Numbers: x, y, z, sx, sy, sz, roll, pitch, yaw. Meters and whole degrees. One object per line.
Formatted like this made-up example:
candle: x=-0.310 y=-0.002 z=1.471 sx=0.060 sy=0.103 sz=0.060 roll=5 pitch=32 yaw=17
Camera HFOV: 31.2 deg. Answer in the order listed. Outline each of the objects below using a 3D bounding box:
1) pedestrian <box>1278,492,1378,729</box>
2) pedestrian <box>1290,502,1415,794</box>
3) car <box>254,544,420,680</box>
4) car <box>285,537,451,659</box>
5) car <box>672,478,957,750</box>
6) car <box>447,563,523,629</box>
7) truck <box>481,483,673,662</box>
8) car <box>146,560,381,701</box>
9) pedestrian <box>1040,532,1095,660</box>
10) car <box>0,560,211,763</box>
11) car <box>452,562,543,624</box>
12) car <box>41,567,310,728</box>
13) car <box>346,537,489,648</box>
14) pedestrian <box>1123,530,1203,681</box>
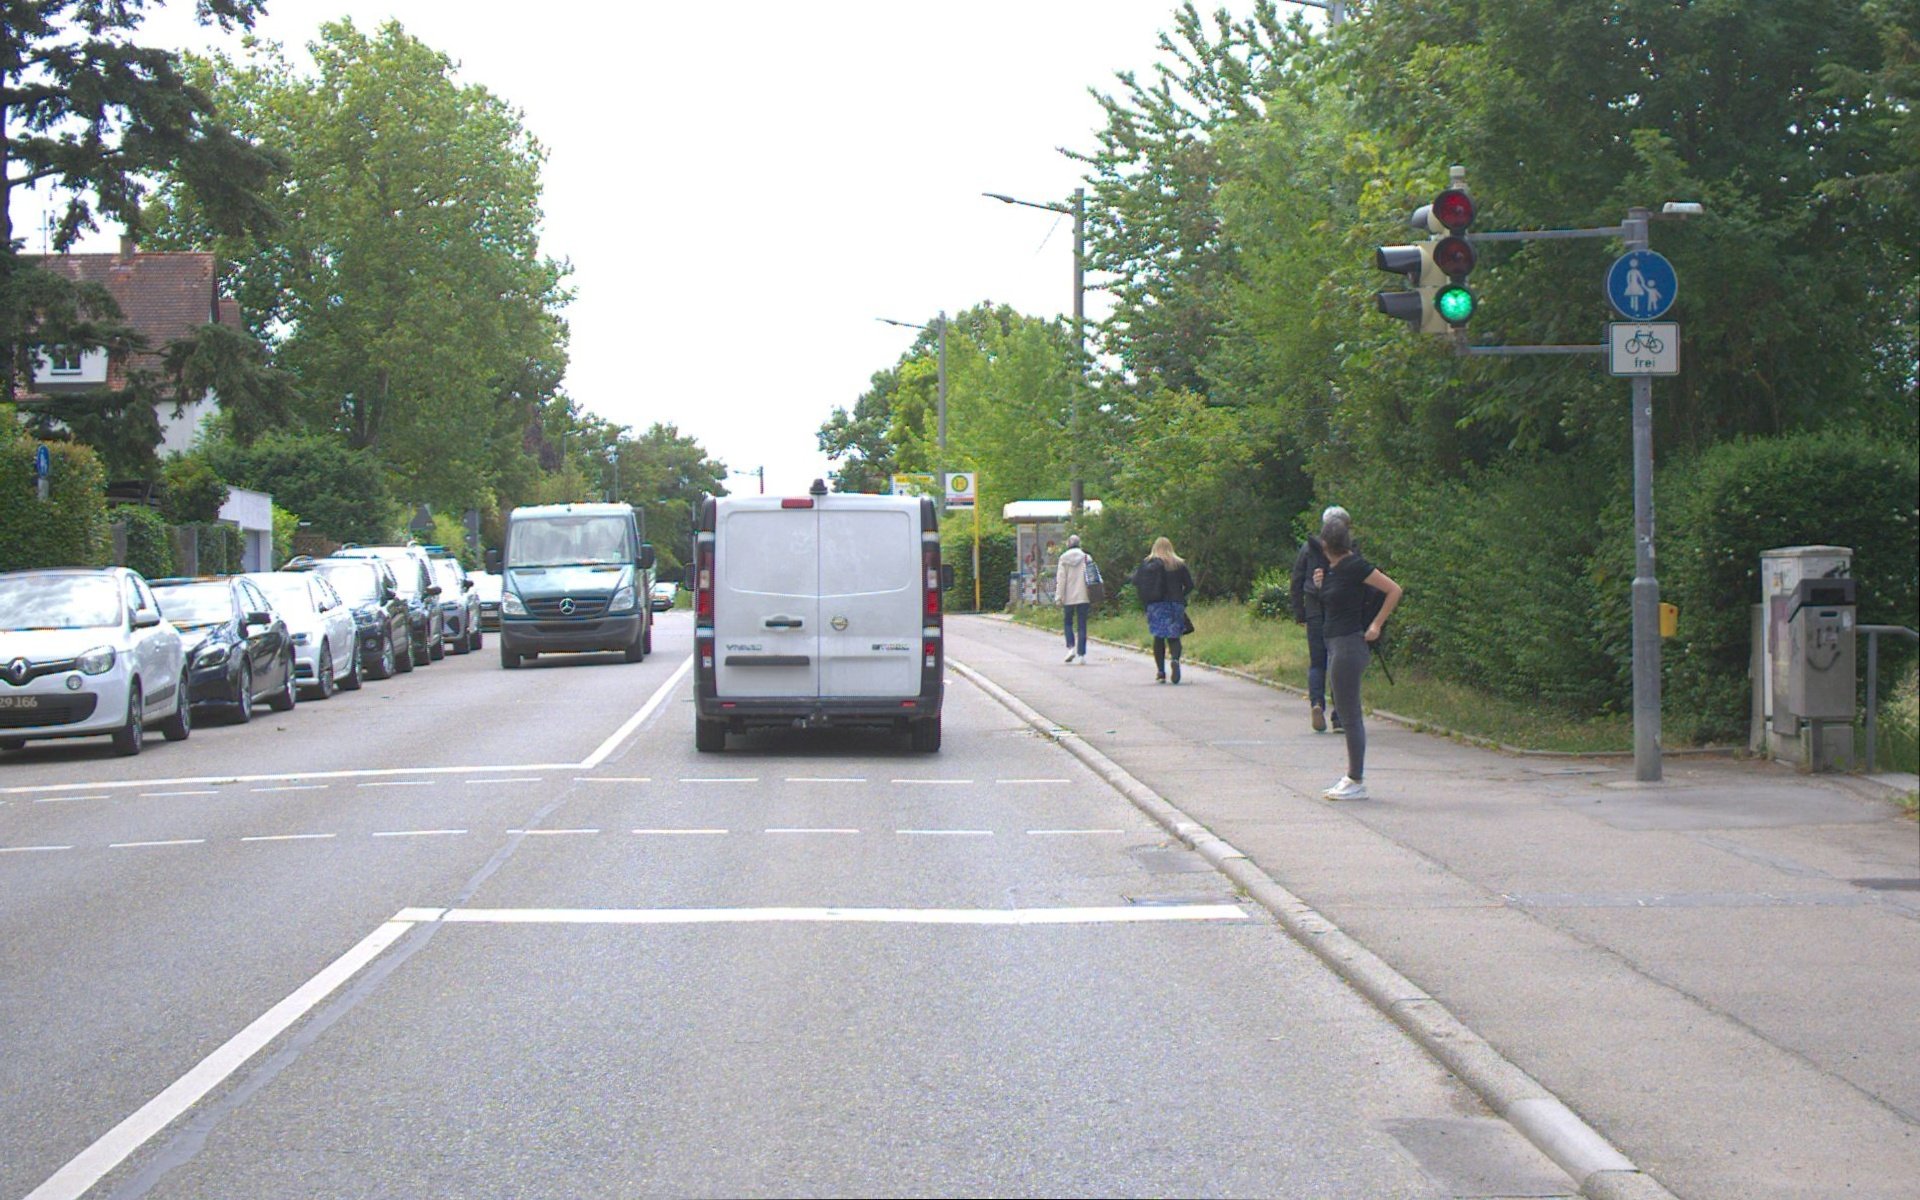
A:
pedestrian: x=2.965 y=0.080 z=27.750 sx=0.745 sy=1.876 sz=0.801 roll=1 pitch=0 yaw=4
pedestrian: x=2.284 y=0.272 z=20.055 sx=0.647 sy=1.658 sz=0.708 roll=1 pitch=0 yaw=2
car: x=-8.427 y=0.118 z=46.796 sx=1.626 sy=1.672 sz=4.584 roll=-3 pitch=1 yaw=-4
car: x=-9.030 y=-0.053 z=52.801 sx=2.066 sy=1.748 sz=4.884 roll=1 pitch=0 yaw=-5
car: x=-1.222 y=0.078 z=27.310 sx=2.034 sy=1.939 sz=4.994 roll=1 pitch=0 yaw=-4
car: x=-11.016 y=-0.112 z=79.650 sx=1.651 sy=1.422 sz=3.907 roll=-2 pitch=1 yaw=-9
truck: x=-5.521 y=-0.441 z=50.387 sx=2.189 sy=2.363 sz=6.905 roll=-2 pitch=1 yaw=-2
car: x=-8.086 y=0.303 z=40.342 sx=1.805 sy=1.454 sz=5.069 roll=-2 pitch=1 yaw=-1
pedestrian: x=1.404 y=-0.054 z=44.953 sx=0.686 sy=1.653 sz=0.690 roll=1 pitch=0 yaw=1
car: x=-7.555 y=0.476 z=28.904 sx=1.702 sy=1.538 sz=3.743 roll=-2 pitch=1 yaw=-1
car: x=-11.345 y=-0.184 z=84.558 sx=1.867 sy=1.454 sz=4.489 roll=-1 pitch=0 yaw=-3
car: x=-7.772 y=0.427 z=34.437 sx=1.743 sy=1.405 sz=4.323 roll=-2 pitch=1 yaw=-1
car: x=-9.237 y=-0.166 z=58.884 sx=1.984 sy=1.813 sz=4.708 roll=-1 pitch=1 yaw=-4
pedestrian: x=2.246 y=0.058 z=38.110 sx=0.840 sy=1.653 sz=0.766 roll=1 pitch=0 yaw=1
